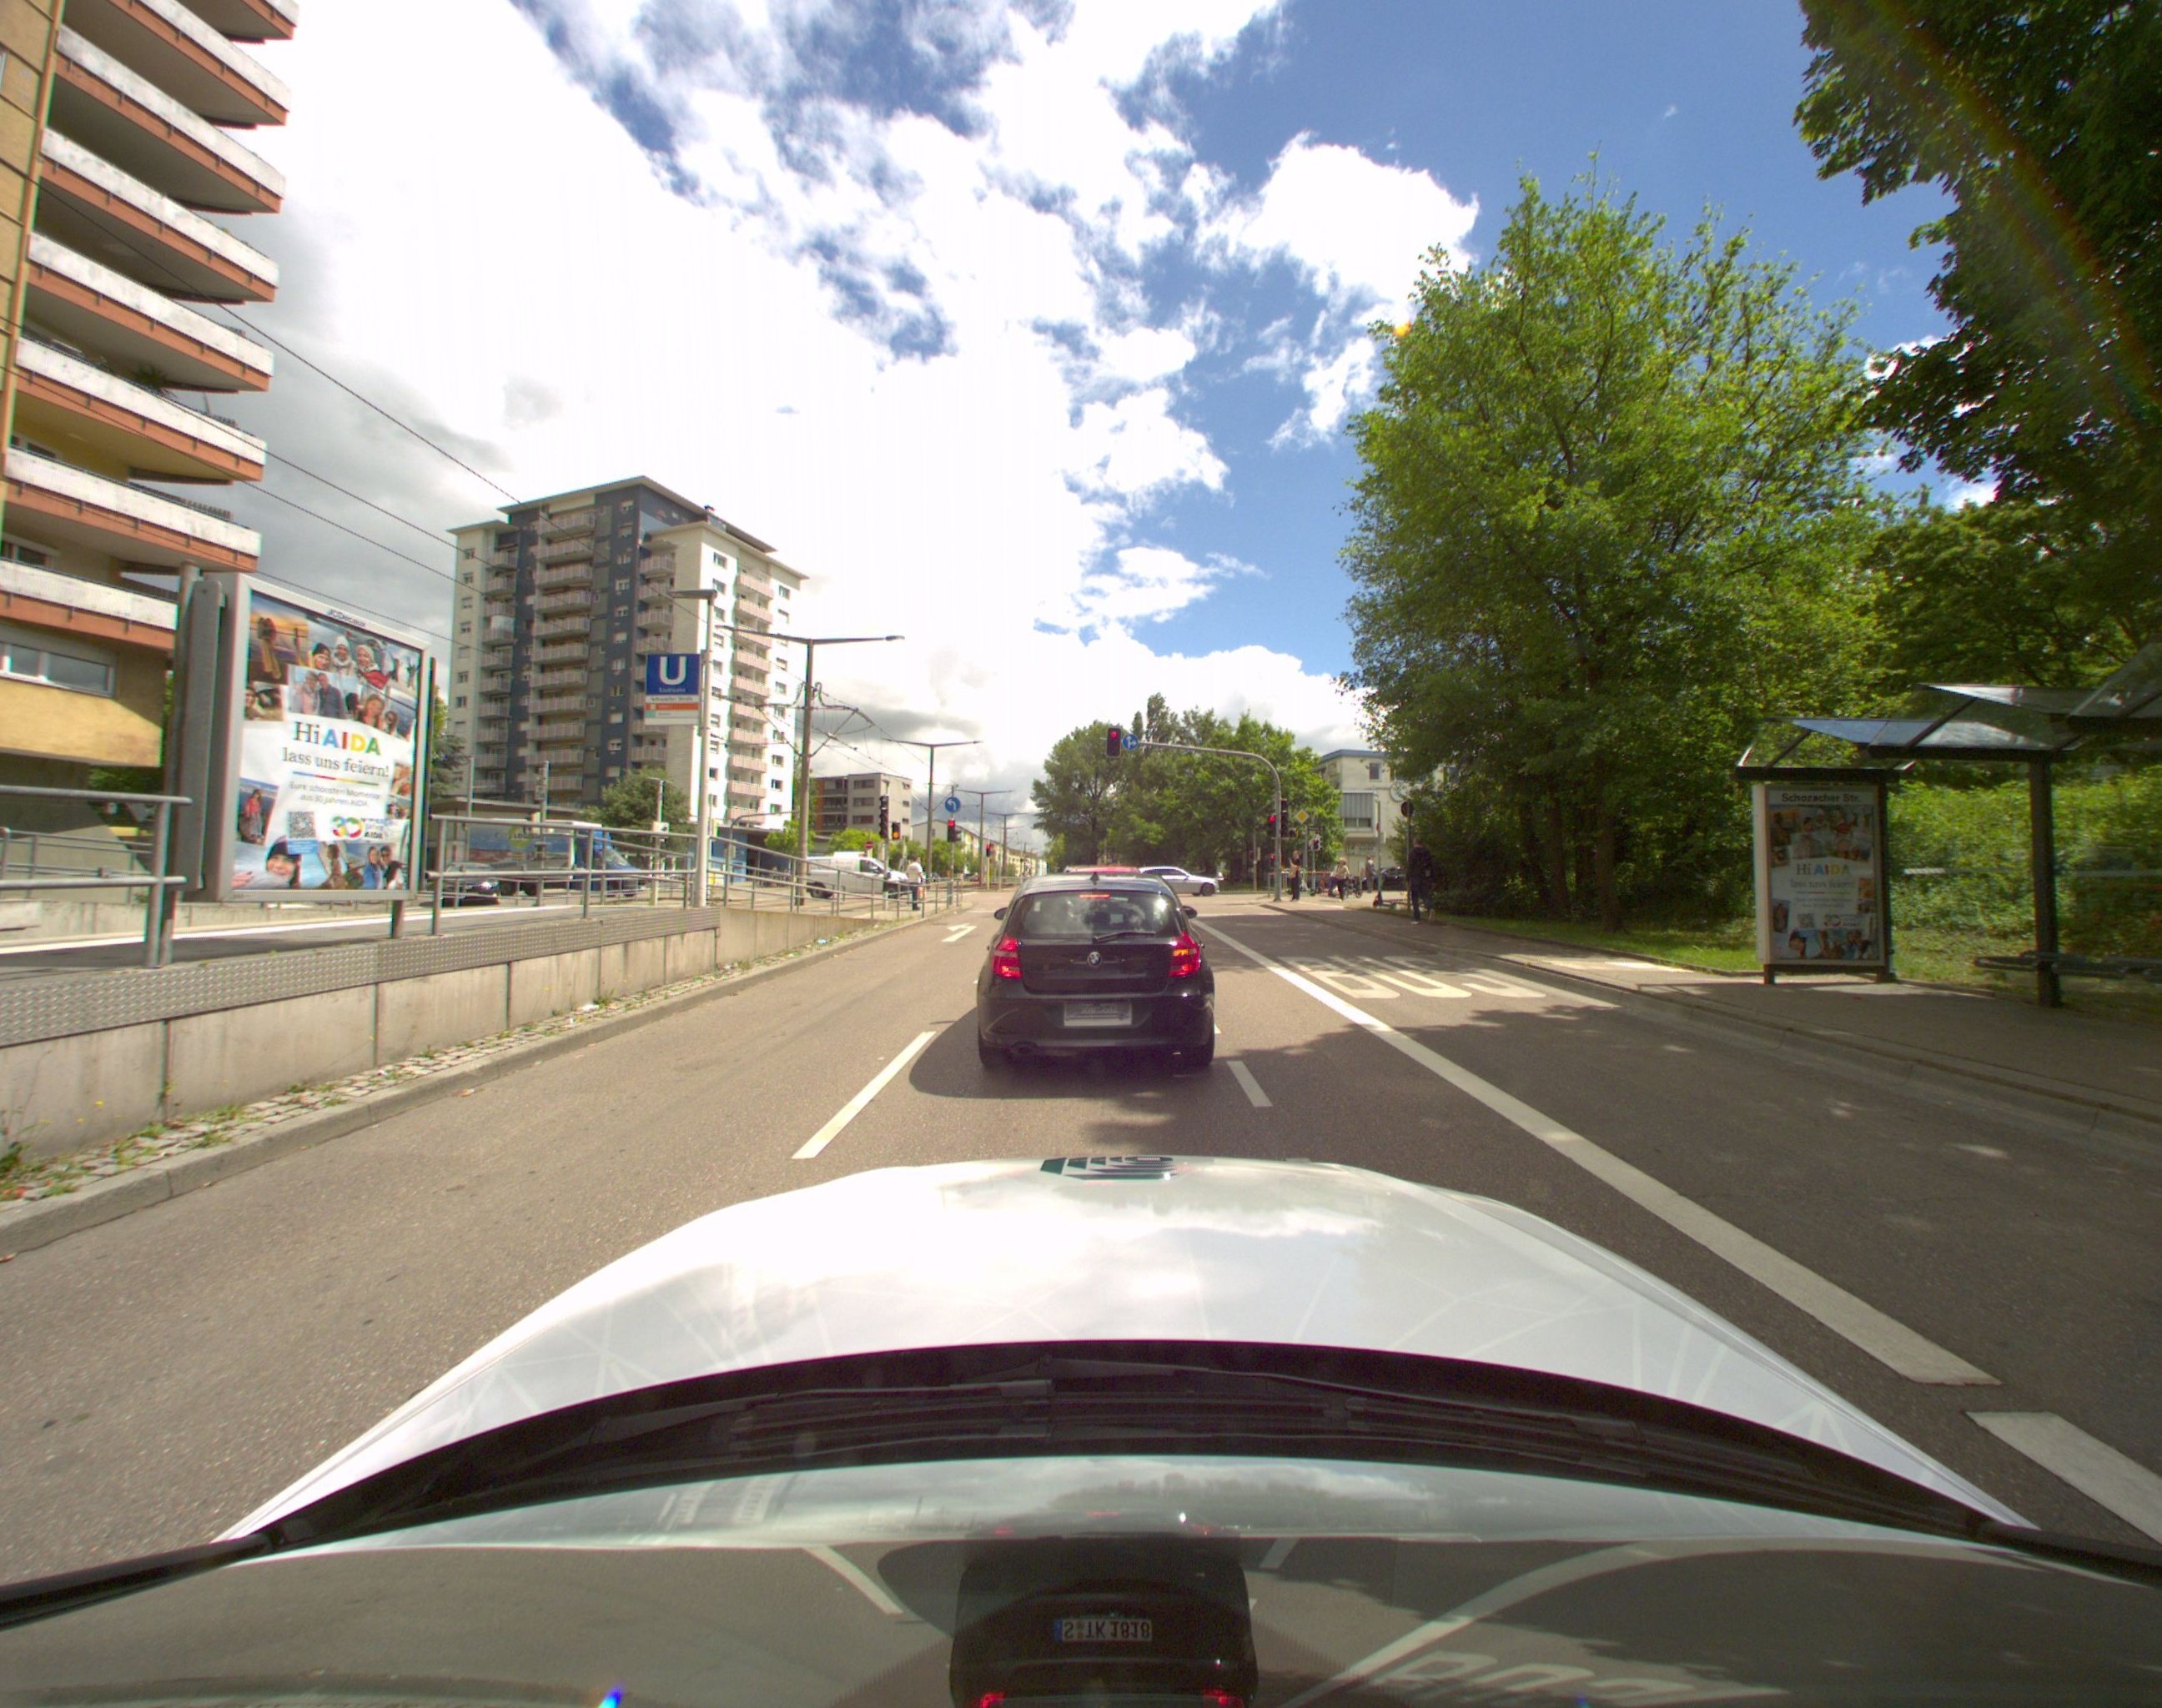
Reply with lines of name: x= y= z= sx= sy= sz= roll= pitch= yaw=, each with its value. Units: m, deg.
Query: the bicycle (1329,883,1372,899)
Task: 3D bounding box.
bicycle: x=10.874 y=1.480 z=32.872 sx=1.586 sy=0.610 sz=0.532 roll=0 pitch=-1 yaw=-12

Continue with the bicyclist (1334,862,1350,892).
bicyclist: x=10.518 y=0.931 z=32.803 sx=0.398 sy=1.157 sz=0.501 roll=-3 pitch=0 yaw=-11

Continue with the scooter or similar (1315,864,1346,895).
scooter or similar: x=10.302 y=1.044 z=33.650 sx=1.145 sy=1.272 sz=0.556 roll=1 pitch=-1 yaw=4

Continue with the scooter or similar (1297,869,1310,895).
scooter or similar: x=9.505 y=1.171 z=34.782 sx=0.543 sy=1.064 sz=1.267 roll=0 pitch=-1 yaw=16

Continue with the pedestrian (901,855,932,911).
pedestrian: x=-5.273 y=0.917 z=26.113 sx=0.693 sy=1.734 sz=0.679 roll=-1 pitch=0 yaw=-41

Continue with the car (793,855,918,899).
car: x=-10.089 y=1.015 z=36.817 sx=5.166 sy=1.893 sz=1.995 roll=0 pitch=-1 yaw=-8

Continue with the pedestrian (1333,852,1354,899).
pedestrian: x=9.914 y=0.818 z=30.764 sx=0.634 sy=1.766 sz=0.518 roll=0 pitch=-1 yaw=1

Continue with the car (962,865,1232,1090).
car: x=0.154 y=0.800 z=6.839 sx=1.694 sy=1.400 sz=3.421 roll=0 pitch=-1 yaw=2

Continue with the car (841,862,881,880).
car: x=-24.291 y=1.885 z=89.964 sx=3.945 sy=1.975 sz=1.637 roll=0 pitch=-1 yaw=-41

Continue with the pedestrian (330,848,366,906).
pedestrian: x=-22.943 y=0.714 z=25.495 sx=0.650 sy=1.776 sz=0.667 roll=-1 pitch=-1 yaw=30

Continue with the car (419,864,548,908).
car: x=-20.796 y=1.060 z=28.541 sx=1.573 sy=1.405 sz=3.866 roll=-1 pitch=-1 yaw=2

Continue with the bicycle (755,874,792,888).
bicycle: x=-24.151 y=2.135 z=63.972 sx=2.570 sy=1.009 sz=0.749 roll=2 pitch=-3 yaw=-27

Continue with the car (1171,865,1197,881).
car: x=11.429 y=2.089 z=90.561 sx=1.862 sy=1.662 sz=3.987 roll=0 pitch=-1 yaw=-9

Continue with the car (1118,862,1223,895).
car: x=4.286 y=1.160 z=39.369 sx=4.784 sy=1.522 sz=1.996 roll=0 pitch=-1 yaw=-6

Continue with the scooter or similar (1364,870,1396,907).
scooter or similar: x=10.424 y=1.192 z=28.416 sx=0.886 sy=1.230 sz=0.455 roll=4 pitch=-1 yaw=2

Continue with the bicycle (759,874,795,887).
bicycle: x=-24.274 y=2.145 z=65.077 sx=2.570 sy=1.009 sz=0.749 roll=2 pitch=-3 yaw=-27

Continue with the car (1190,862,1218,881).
car: x=11.974 y=1.716 z=79.661 sx=1.724 sy=1.871 sz=3.990 roll=0 pitch=-1 yaw=-7

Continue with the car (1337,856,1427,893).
car: x=17.710 y=1.175 z=48.015 sx=4.530 sy=2.014 sz=1.996 roll=-1 pitch=-1 yaw=-7

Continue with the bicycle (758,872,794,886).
bicycle: x=-23.651 y=1.949 z=63.188 sx=2.570 sy=1.009 sz=0.749 roll=2 pitch=-3 yaw=-27

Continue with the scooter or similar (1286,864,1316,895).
scooter or similar: x=8.900 y=1.015 z=32.956 sx=1.105 sy=1.235 sz=0.540 roll=0 pitch=-1 yaw=4

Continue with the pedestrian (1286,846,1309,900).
pedestrian: x=7.657 y=0.678 z=28.799 sx=0.636 sy=1.876 sz=0.516 roll=0 pitch=-1 yaw=-9

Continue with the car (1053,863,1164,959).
car: x=0.457 y=0.857 z=13.740 sx=1.632 sy=1.400 sz=3.421 roll=0 pitch=-1 yaw=2

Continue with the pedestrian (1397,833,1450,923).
pedestrian: x=7.405 y=0.511 z=17.657 sx=0.791 sy=1.876 sz=1.015 roll=0 pitch=-1 yaw=7

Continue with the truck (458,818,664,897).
truck: x=-22.863 y=0.139 z=36.129 sx=7.256 sy=3.348 sz=2.603 roll=0 pitch=-1 yaw=-5

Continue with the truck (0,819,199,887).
truck: x=-34.574 y=-0.020 z=28.755 sx=4.262 sy=2.290 sz=2.352 roll=0 pitch=-1 yaw=2

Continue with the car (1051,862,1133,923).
car: x=0.321 y=0.921 z=21.185 sx=1.893 sy=1.422 sz=4.540 roll=0 pitch=-1 yaw=2

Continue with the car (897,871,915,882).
car: x=-24.144 y=3.054 z=112.661 sx=1.586 sy=1.474 sz=3.775 roll=0 pitch=-1 yaw=1

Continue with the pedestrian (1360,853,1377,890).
pedestrian: x=13.197 y=0.807 z=37.397 sx=0.651 sy=1.713 sz=0.465 roll=-1 pitch=-1 yaw=30

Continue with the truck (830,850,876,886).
truck: x=-20.699 y=1.306 z=74.306 sx=2.275 sy=3.118 sz=7.312 roll=0 pitch=-1 yaw=-2

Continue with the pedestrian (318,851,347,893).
pedestrian: x=-26.026 y=0.629 z=28.311 sx=0.494 sy=1.440 sz=0.551 roll=-1 pitch=-1 yaw=12
